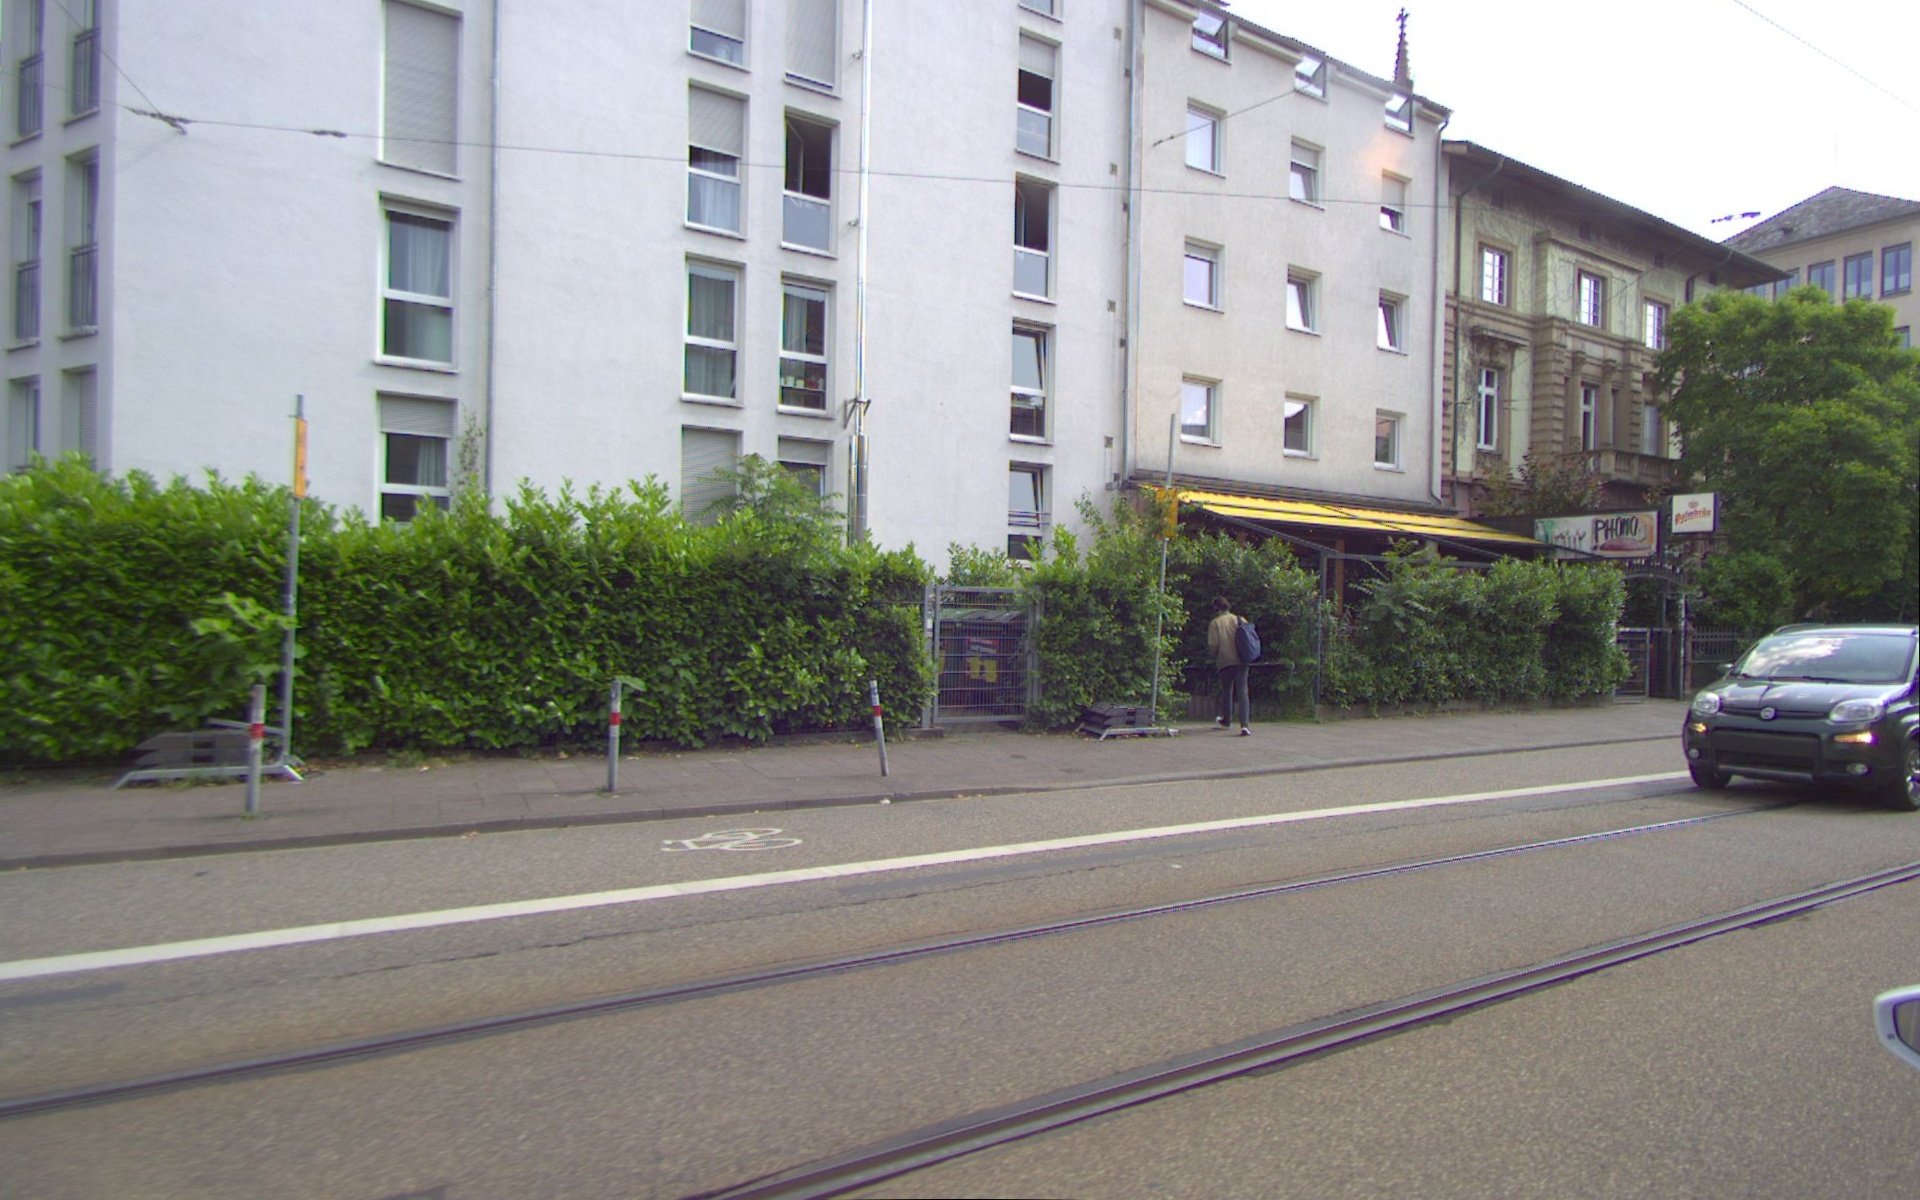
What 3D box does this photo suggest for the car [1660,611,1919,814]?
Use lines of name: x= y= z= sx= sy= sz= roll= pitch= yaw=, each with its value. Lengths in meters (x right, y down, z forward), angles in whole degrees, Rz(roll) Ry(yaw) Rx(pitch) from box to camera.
car: x=8.524 y=0.946 z=9.536 sx=3.776 sy=1.577 sz=1.624 roll=2 pitch=-1 yaw=-30

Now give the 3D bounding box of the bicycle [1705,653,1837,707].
bicycle: x=17.059 y=1.648 z=21.101 sx=2.953 sy=0.921 sz=1.137 roll=1 pitch=3 yaw=-30

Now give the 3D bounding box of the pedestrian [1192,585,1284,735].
pedestrian: x=3.733 y=0.786 z=13.549 sx=1.041 sy=1.943 sz=0.830 roll=1 pitch=0 yaw=6
